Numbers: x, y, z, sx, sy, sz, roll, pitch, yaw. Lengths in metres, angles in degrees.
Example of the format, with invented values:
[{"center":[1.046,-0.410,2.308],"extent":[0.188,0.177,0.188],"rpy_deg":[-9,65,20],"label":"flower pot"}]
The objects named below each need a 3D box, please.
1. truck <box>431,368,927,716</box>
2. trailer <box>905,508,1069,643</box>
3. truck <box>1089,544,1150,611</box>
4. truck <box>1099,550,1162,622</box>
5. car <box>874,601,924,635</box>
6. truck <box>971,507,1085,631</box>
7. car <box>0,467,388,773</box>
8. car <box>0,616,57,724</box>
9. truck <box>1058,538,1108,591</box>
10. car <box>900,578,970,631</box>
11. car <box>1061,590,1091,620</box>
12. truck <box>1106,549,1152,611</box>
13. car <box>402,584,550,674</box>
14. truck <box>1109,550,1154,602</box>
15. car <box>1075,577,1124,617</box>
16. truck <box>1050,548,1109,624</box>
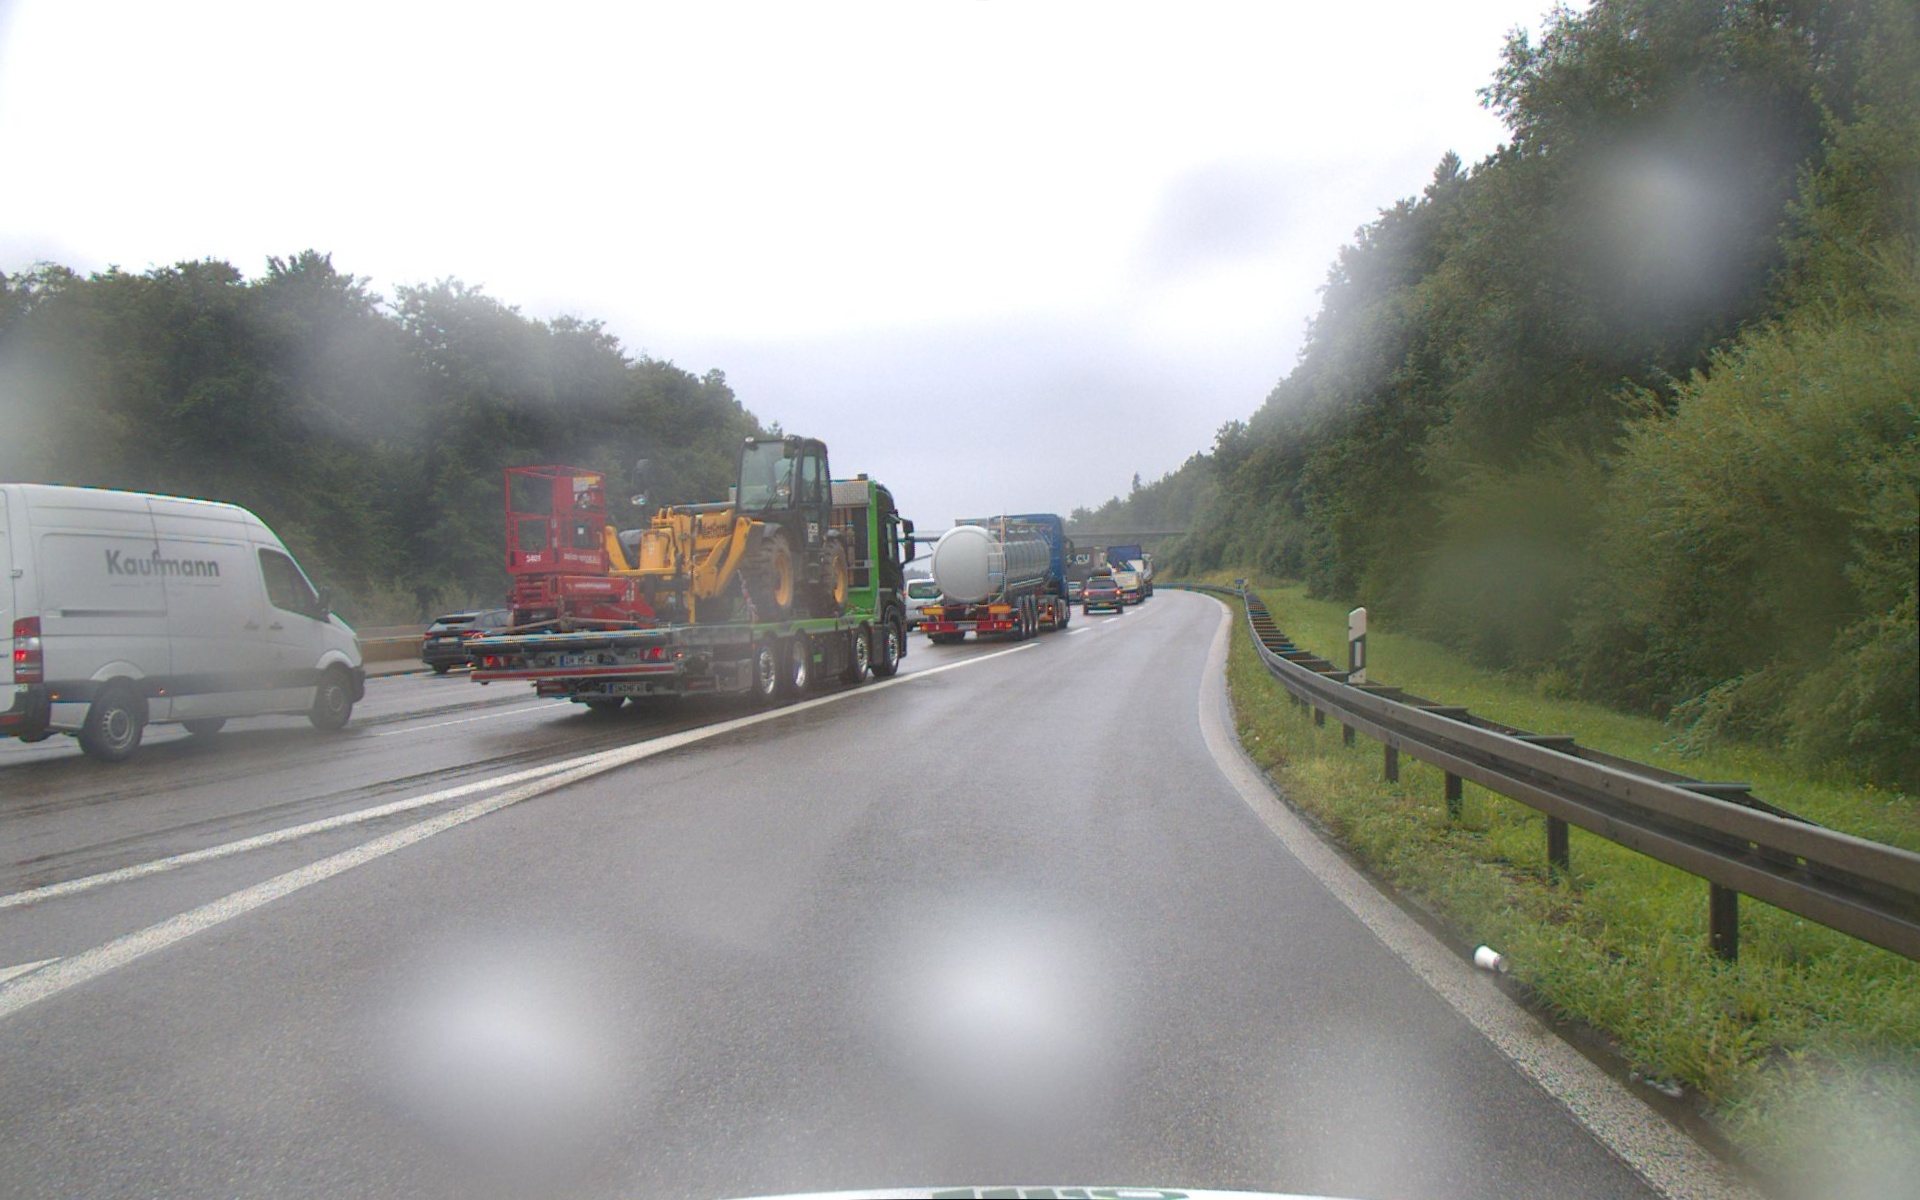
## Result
[{"center":[-3.207,-0.632,23.718],"extent":[2.770,3.651,11.808],"rpy_deg":[-2,0,12],"label":"truck"},{"center":[0.989,-0.681,47.162],"extent":[2.812,3.346,10.087],"rpy_deg":[-2,0,11],"label":"trailer"},{"center":[11.598,-1.536,119.279],"extent":[3.432,4.342,10.611],"rpy_deg":[2,-1,10],"label":"truck"},{"center":[10.753,-0.890,103.282],"extent":[3.523,4.176,11.569],"rpy_deg":[-2,0,7],"label":"truck"},{"center":[-3.328,0.965,90.693],"extent":[1.951,1.803,4.138],"rpy_deg":[-1,0,9],"label":"car"},{"center":[2.294,-0.971,53.736],"extent":[2.815,3.758,5.061],"rpy_deg":[-2,0,12],"label":"truck"},{"center":[-8.676,0.200,17.561],"extent":[2.168,2.675,5.849],"rpy_deg":[-2,0,12],"label":"car"},{"center":[-15.038,1.037,22.933],"extent":[1.826,1.549,4.634],"rpy_deg":[-2,0,12],"label":"car"},{"center":[10.994,-3.065,146.883],"extent":[3.500,4.167,10.888],"rpy_deg":[-1,-1,9],"label":"truck"},{"center":[-0.838,0.162,58.841],"extent":[1.780,1.798,4.003],"rpy_deg":[-1,0,9],"label":"car"},{"center":[7.787,0.359,110.754],"extent":[1.759,1.937,4.003],"rpy_deg":[1,-1,8],"label":"car"},{"center":[17.071,-1.943,166.236],"extent":[4.244,5.864,9.737],"rpy_deg":[2,-1,7],"label":"truck"},{"center":[-11.853,0.724,40.786],"extent":[1.759,2.049,4.003],"rpy_deg":[2,-1,12],"label":"car"},{"center":[14.975,-2.034,144.873],"extent":[3.675,4.040,11.065],"rpy_deg":[2,-1,5],"label":"truck"},{"center":[6.431,-0.122,75.988],"extent":[1.951,1.665,4.003],"rpy_deg":[2,-1,8],"label":"car"},{"center":[9.480,-0.993,130.049],"extent":[3.674,5.595,10.180],"rpy_deg":[2,-1,9],"label":"truck"}]
